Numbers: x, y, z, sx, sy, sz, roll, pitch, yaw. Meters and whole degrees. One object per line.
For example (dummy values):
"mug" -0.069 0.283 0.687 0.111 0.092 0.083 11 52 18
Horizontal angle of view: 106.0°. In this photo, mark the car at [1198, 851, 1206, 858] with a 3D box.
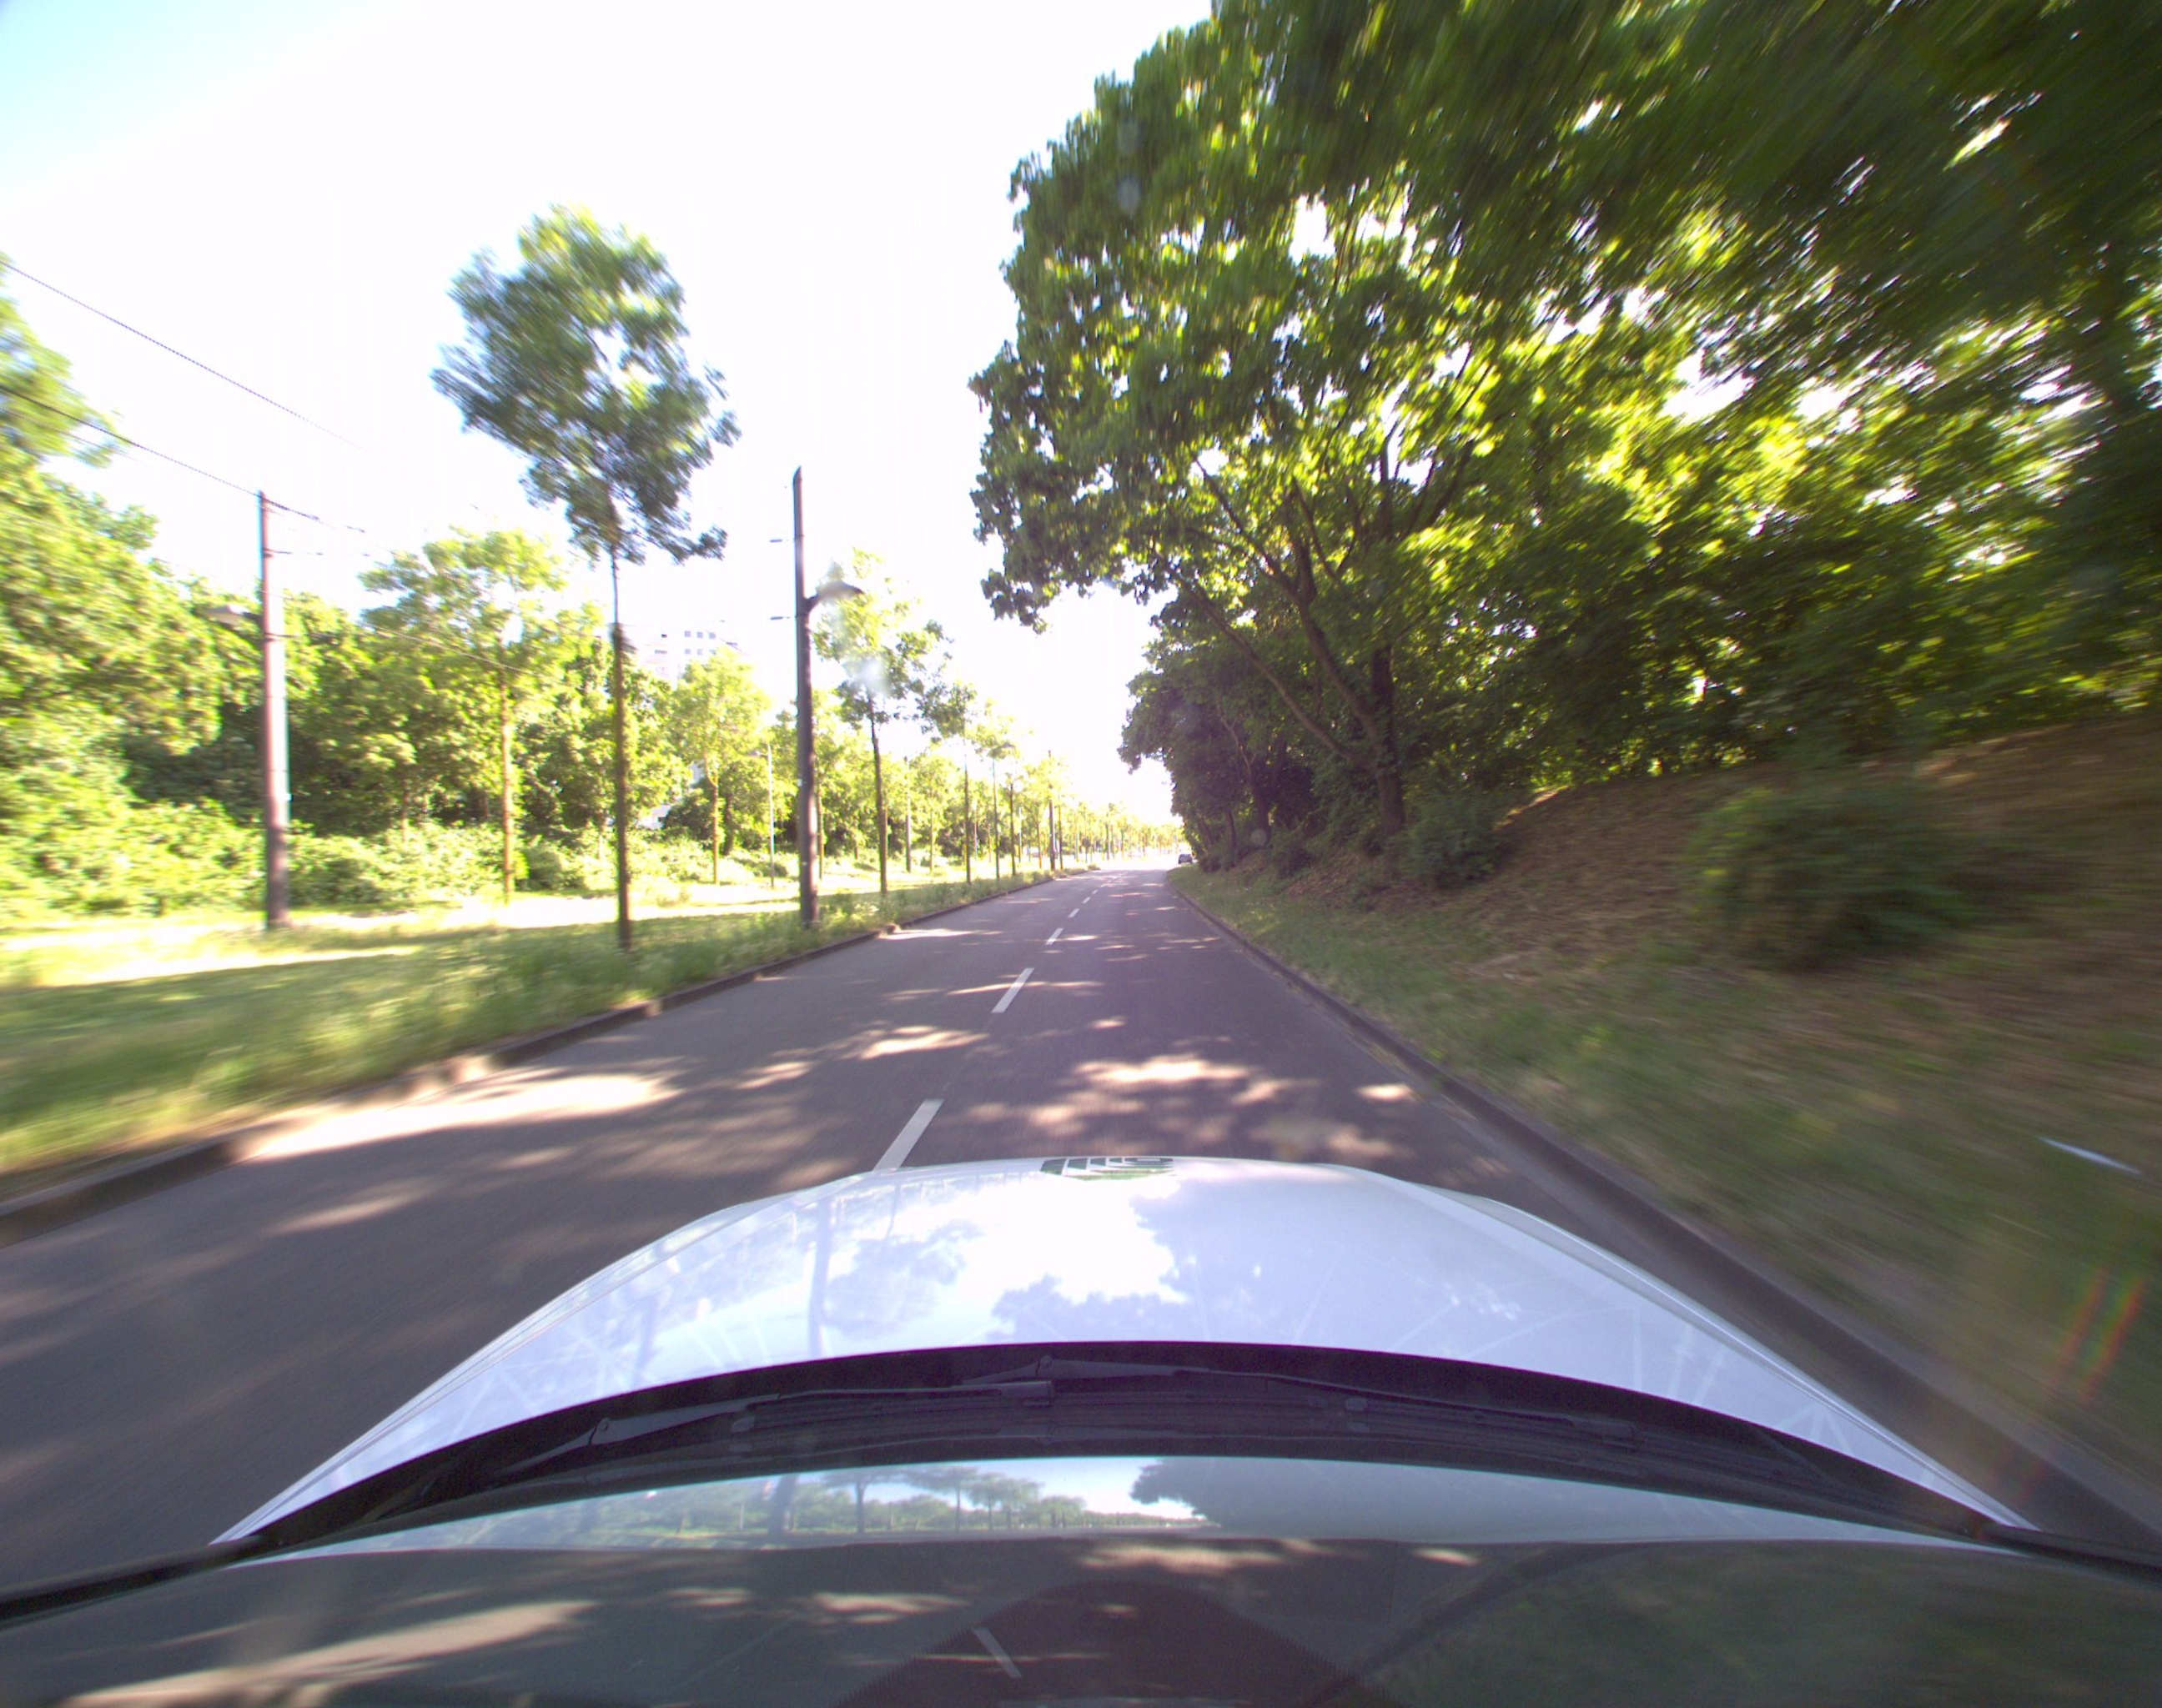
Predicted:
"car" 28.517 0.066 192.164 1.623 1.498 4.248 -1 0 12

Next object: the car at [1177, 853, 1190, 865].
"car" 13.619 0.599 108.021 1.624 1.498 4.246 -1 0 9
